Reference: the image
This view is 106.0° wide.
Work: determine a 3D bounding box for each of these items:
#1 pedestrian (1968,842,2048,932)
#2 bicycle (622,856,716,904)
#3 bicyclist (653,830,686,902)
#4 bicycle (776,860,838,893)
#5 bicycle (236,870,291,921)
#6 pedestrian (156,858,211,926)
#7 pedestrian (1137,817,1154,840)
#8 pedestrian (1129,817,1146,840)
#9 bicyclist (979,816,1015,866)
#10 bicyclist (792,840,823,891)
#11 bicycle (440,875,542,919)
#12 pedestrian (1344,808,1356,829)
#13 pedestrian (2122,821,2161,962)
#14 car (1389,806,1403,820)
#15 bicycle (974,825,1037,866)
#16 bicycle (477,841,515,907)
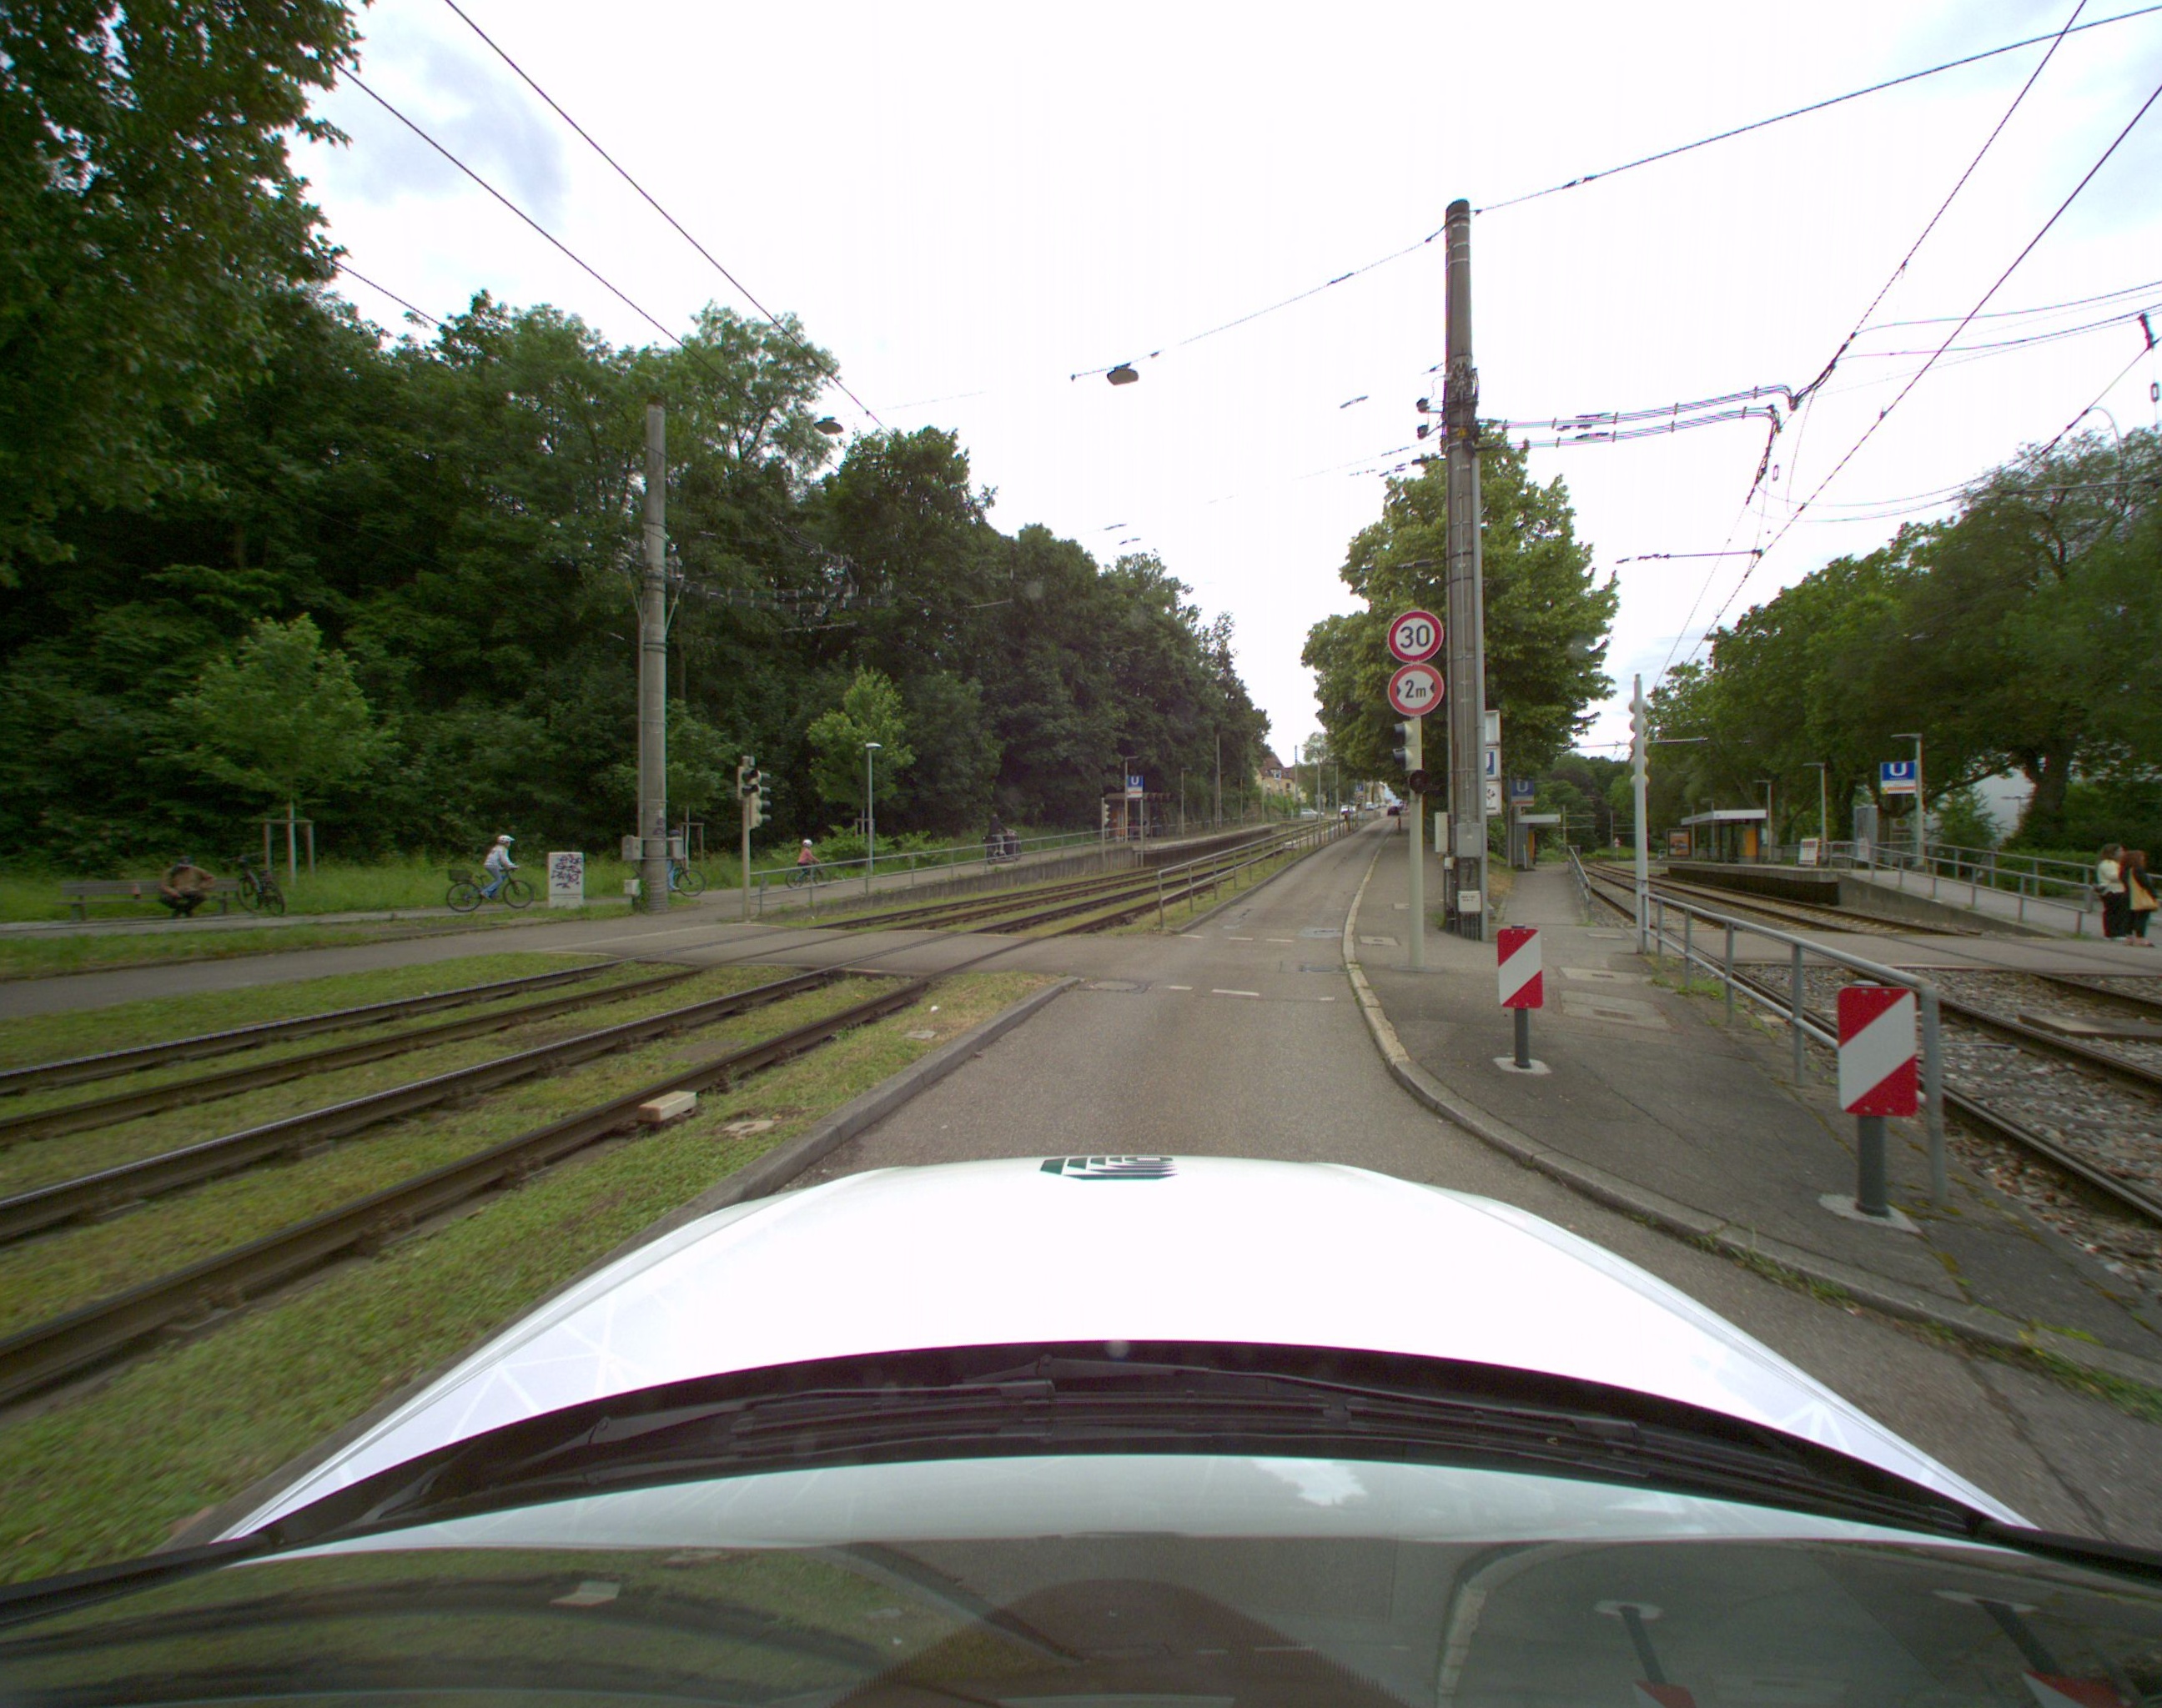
[{"bbox_3d":[17.855,0.606,15.699,0.729,1.665,0.685,2,1,19],"label":"pedestrian"},{"bbox_3d":[-9.846,0.601,19.524,1.954,1.041,0.470,-1,4,-37],"label":"bicycle"},{"bbox_3d":[-9.851,0.280,19.508,0.626,1.674,0.470,-1,4,-37],"label":"bicyclist"},{"bbox_3d":[-7.348,0.589,21.900,0.449,0.738,1.569,4,7,41],"label":"bicycle"},{"bbox_3d":[-16.430,0.816,16.393,0.625,0.885,1.726,1,1,-41],"label":"bicycle"},{"bbox_3d":[-17.113,0.716,15.538,0.573,1.235,0.677,3,1,43],"label":"pedestrian"},{"bbox_3d":[3.944,-1.556,49.727,0.765,1.326,0.791,2,1,22],"label":"pedestrian"},{"bbox_3d":[3.363,-1.522,48.708,0.765,1.325,0.791,2,3,22],"label":"pedestrian"},{"bbox_3d":[-3.039,-0.505,29.514,0.726,1.710,1.300,2,5,25],"label":"bicyclist"},{"bbox_3d":[-7.345,0.303,21.883,0.449,1.300,0.585,4,6,41],"label":"bicyclist"},{"bbox_3d":[-12.339,0.886,17.081,0.449,0.738,1.663,3,4,38],"label":"bicycle"},{"bbox_3d":[18.849,-2.513,57.107,0.736,1.409,0.751,2,5,22],"label":"pedestrian"},{"bbox_3d":[14.390,0.480,10.615,0.800,1.821,0.670,0,1,-2],"label":"pedestrian"},{"bbox_3d":[51.677,-6.676,133.444,1.976,2.145,4.021,2,1,22],"label":"car"},{"bbox_3d":[-2.751,-0.345,30.132,0.726,1.289,3.367,2,5,25],"label":"bicycle"},{"bbox_3d":[-12.290,0.409,17.109,0.449,1.329,0.519,3,4,38],"label":"bicycle"}]
